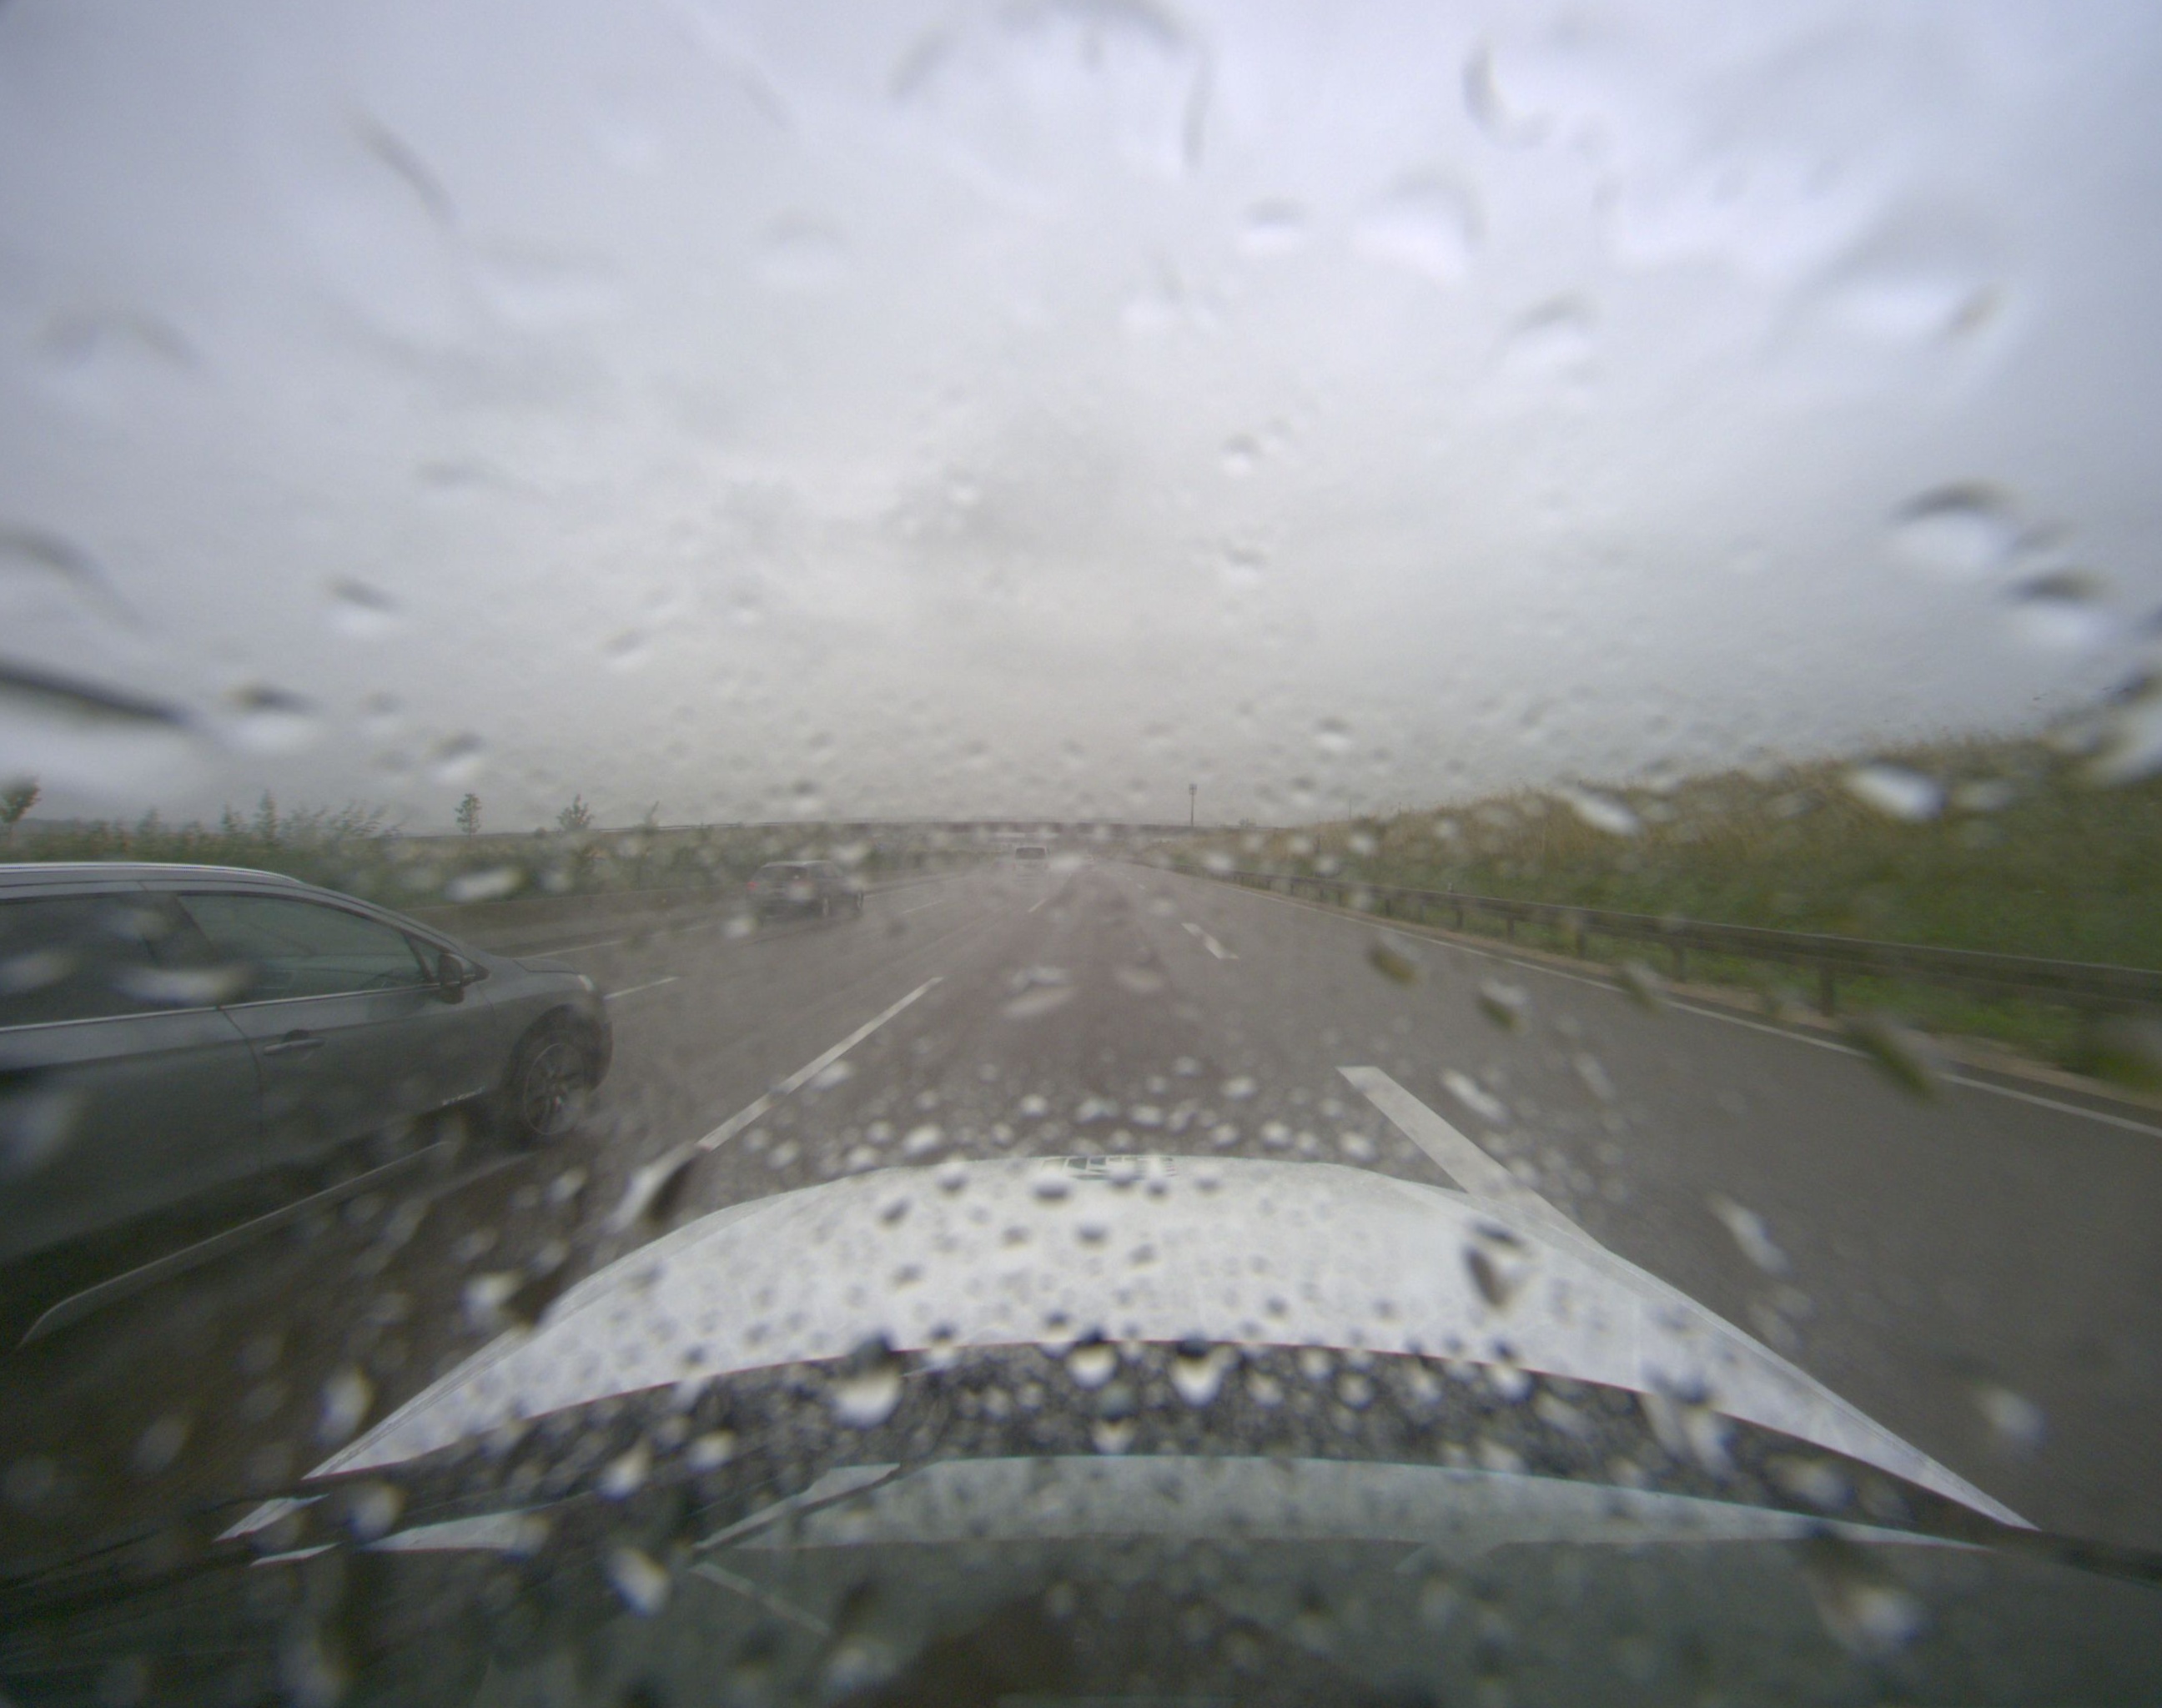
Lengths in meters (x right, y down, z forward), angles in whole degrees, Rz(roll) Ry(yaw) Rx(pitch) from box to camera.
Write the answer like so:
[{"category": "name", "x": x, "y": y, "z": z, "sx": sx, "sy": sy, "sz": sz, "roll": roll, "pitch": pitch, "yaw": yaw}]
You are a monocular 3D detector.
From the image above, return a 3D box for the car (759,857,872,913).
[{"category": "car", "x": -7.100, "y": 0.786, "z": 22.202, "sx": 1.606, "sy": 1.354, "sz": 4.003, "roll": 0, "pitch": 0, "yaw": 2}]

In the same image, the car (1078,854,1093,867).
[{"category": "car", "x": 0.484, "y": 0.654, "z": 82.349, "sx": 1.463, "sy": 1.208, "sz": 2.990, "roll": -1, "pitch": 0, "yaw": -1}]

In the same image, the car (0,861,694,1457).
[{"category": "car", "x": -3.667, "y": 0.809, "z": 3.183, "sx": 1.839, "sy": 1.513, "sz": 4.760, "roll": 0, "pitch": 0, "yaw": 3}]

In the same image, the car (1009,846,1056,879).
[{"category": "car", "x": -2.368, "y": 0.414, "z": 40.831, "sx": 1.889, "sy": 1.585, "sz": 4.004, "roll": 0, "pitch": 0, "yaw": 4}]

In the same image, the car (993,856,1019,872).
[{"category": "car", "x": -5.806, "y": 0.758, "z": 63.543, "sx": 1.461, "sy": 1.257, "sz": 3.344, "roll": -1, "pitch": 0, "yaw": 5}]
